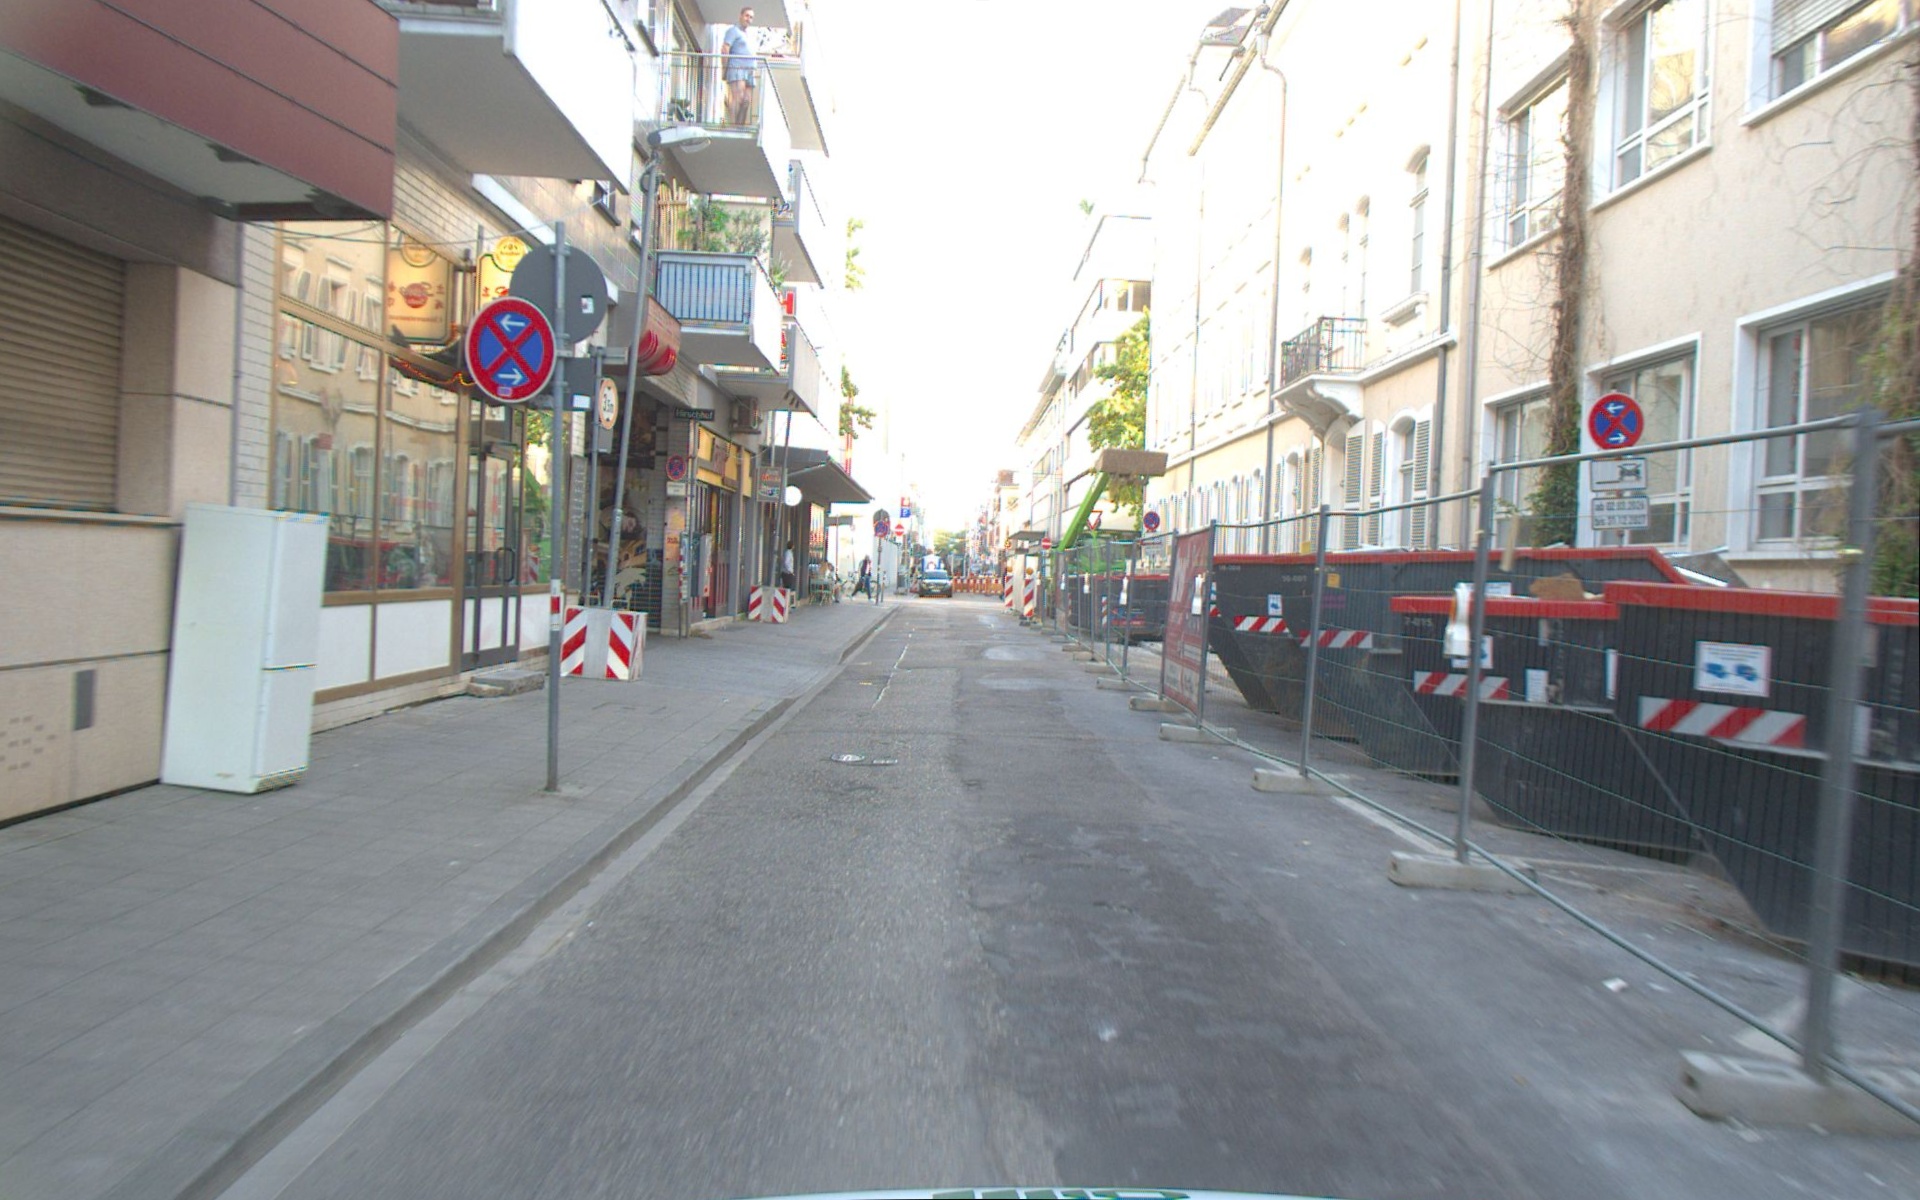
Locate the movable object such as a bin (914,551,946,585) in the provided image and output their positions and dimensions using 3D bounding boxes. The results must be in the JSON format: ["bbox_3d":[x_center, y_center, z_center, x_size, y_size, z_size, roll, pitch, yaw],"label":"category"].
[{"bbox_3d":[-1.883,-2.024,104.523,1.953,2.048,4.000,1,1,0],"label":"movable object such as a bin"}]

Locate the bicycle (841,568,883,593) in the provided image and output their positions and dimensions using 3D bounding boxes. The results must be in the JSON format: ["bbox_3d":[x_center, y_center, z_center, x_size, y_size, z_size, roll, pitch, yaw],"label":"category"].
[{"bbox_3d":[-4.447,-0.874,74.850,1.853,1.056,0.409,2,1,-4],"label":"bicycle"}]

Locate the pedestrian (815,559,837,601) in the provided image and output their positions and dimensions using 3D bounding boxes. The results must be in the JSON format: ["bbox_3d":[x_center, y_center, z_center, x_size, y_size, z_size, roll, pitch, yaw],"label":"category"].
[{"bbox_3d":[-4.279,-0.642,52.936,0.561,1.297,0.713,4,1,-1],"label":"pedestrian"}]

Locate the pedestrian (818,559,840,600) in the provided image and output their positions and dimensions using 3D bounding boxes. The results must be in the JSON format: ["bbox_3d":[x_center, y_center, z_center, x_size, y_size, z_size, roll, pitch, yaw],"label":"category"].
[{"bbox_3d":[-4.269,-0.678,53.884,0.561,1.297,0.713,4,1,-1],"label":"pedestrian"}]

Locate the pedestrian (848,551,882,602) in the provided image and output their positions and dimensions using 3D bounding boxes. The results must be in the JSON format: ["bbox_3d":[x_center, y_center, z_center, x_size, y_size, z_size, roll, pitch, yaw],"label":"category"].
[{"bbox_3d":[-3.559,-0.889,61.865,1.056,1.867,0.694,1,1,-22],"label":"pedestrian"}]

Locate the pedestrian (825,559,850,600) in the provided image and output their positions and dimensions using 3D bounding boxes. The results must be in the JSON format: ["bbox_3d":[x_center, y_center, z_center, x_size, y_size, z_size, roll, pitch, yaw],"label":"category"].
[{"bbox_3d":[-4.068,-0.688,55.052,0.688,1.297,0.713,4,1,-1],"label":"pedestrian"}]

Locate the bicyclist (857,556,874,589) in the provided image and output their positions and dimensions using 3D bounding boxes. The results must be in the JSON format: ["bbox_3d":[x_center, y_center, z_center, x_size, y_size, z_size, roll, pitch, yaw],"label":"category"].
[{"bbox_3d":[-4.276,-1.240,74.831,0.710,1.466,0.506,2,1,-3],"label":"bicyclist"}]

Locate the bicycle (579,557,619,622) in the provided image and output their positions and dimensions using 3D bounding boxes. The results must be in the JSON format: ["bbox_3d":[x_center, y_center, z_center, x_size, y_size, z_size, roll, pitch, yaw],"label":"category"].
[{"bbox_3d":[-5.758,-0.181,26.432,0.370,0.977,1.501,2,2,-4],"label":"bicycle"}]

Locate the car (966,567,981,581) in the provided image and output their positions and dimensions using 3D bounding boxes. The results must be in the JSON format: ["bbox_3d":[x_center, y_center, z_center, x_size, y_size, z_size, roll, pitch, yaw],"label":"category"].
[{"bbox_3d":[1.912,-3.599,228.533,1.953,1.807,4.000,1,1,-1],"label":"car"}]

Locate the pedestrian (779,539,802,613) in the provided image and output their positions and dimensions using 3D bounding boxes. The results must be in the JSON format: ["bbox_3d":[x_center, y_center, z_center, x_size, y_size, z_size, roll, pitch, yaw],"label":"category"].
[{"bbox_3d":[-4.357,-0.623,42.483,0.520,1.866,0.562,2,1,-7],"label":"pedestrian"}]

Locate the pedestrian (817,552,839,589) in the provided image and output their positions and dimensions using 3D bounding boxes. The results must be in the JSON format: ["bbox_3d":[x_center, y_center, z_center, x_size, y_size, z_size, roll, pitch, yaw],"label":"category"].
[{"bbox_3d":[-4.728,-1.055,59.355,0.697,1.297,0.704,2,1,0],"label":"pedestrian"}]

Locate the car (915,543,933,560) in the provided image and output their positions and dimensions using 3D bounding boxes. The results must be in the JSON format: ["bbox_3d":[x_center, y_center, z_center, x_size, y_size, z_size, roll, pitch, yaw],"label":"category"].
[{"bbox_3d":[-3.965,-5.389,183.987,1.953,1.807,4.000,1,1,-1],"label":"car"}]

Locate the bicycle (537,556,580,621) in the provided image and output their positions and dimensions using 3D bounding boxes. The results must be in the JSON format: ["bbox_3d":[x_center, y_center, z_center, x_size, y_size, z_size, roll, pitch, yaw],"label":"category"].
[{"bbox_3d":[-6.424,-0.197,26.504,0.370,0.977,1.501,2,2,-4],"label":"bicycle"}]

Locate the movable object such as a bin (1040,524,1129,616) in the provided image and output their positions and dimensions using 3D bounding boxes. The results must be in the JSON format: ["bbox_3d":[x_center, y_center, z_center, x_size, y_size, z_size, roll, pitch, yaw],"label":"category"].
[{"bbox_3d":[4.094,-1.018,55.285,2.552,2.888,4.450,1,1,0],"label":"movable object such as a bin"}]

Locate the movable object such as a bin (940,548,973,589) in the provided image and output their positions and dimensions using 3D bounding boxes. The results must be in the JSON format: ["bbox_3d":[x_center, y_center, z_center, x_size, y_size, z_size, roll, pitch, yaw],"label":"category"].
[{"bbox_3d":[-0.255,-2.164,114.479,2.113,2.710,4.572,2,1,-1],"label":"movable object such as a bin"}]

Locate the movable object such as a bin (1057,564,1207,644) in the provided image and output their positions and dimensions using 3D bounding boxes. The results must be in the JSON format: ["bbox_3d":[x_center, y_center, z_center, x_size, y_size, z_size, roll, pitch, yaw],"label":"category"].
[{"bbox_3d":[4.111,0.009,41.111,2.681,1.667,7.551,3,1,-2],"label":"movable object such as a bin"}]

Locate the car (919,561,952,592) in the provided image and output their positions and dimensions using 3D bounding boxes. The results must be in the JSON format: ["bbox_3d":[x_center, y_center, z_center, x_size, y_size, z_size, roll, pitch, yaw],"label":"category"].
[{"bbox_3d":[-1.335,-1.272,89.067,1.597,1.577,3.140,1,1,-4],"label":"car"}]
